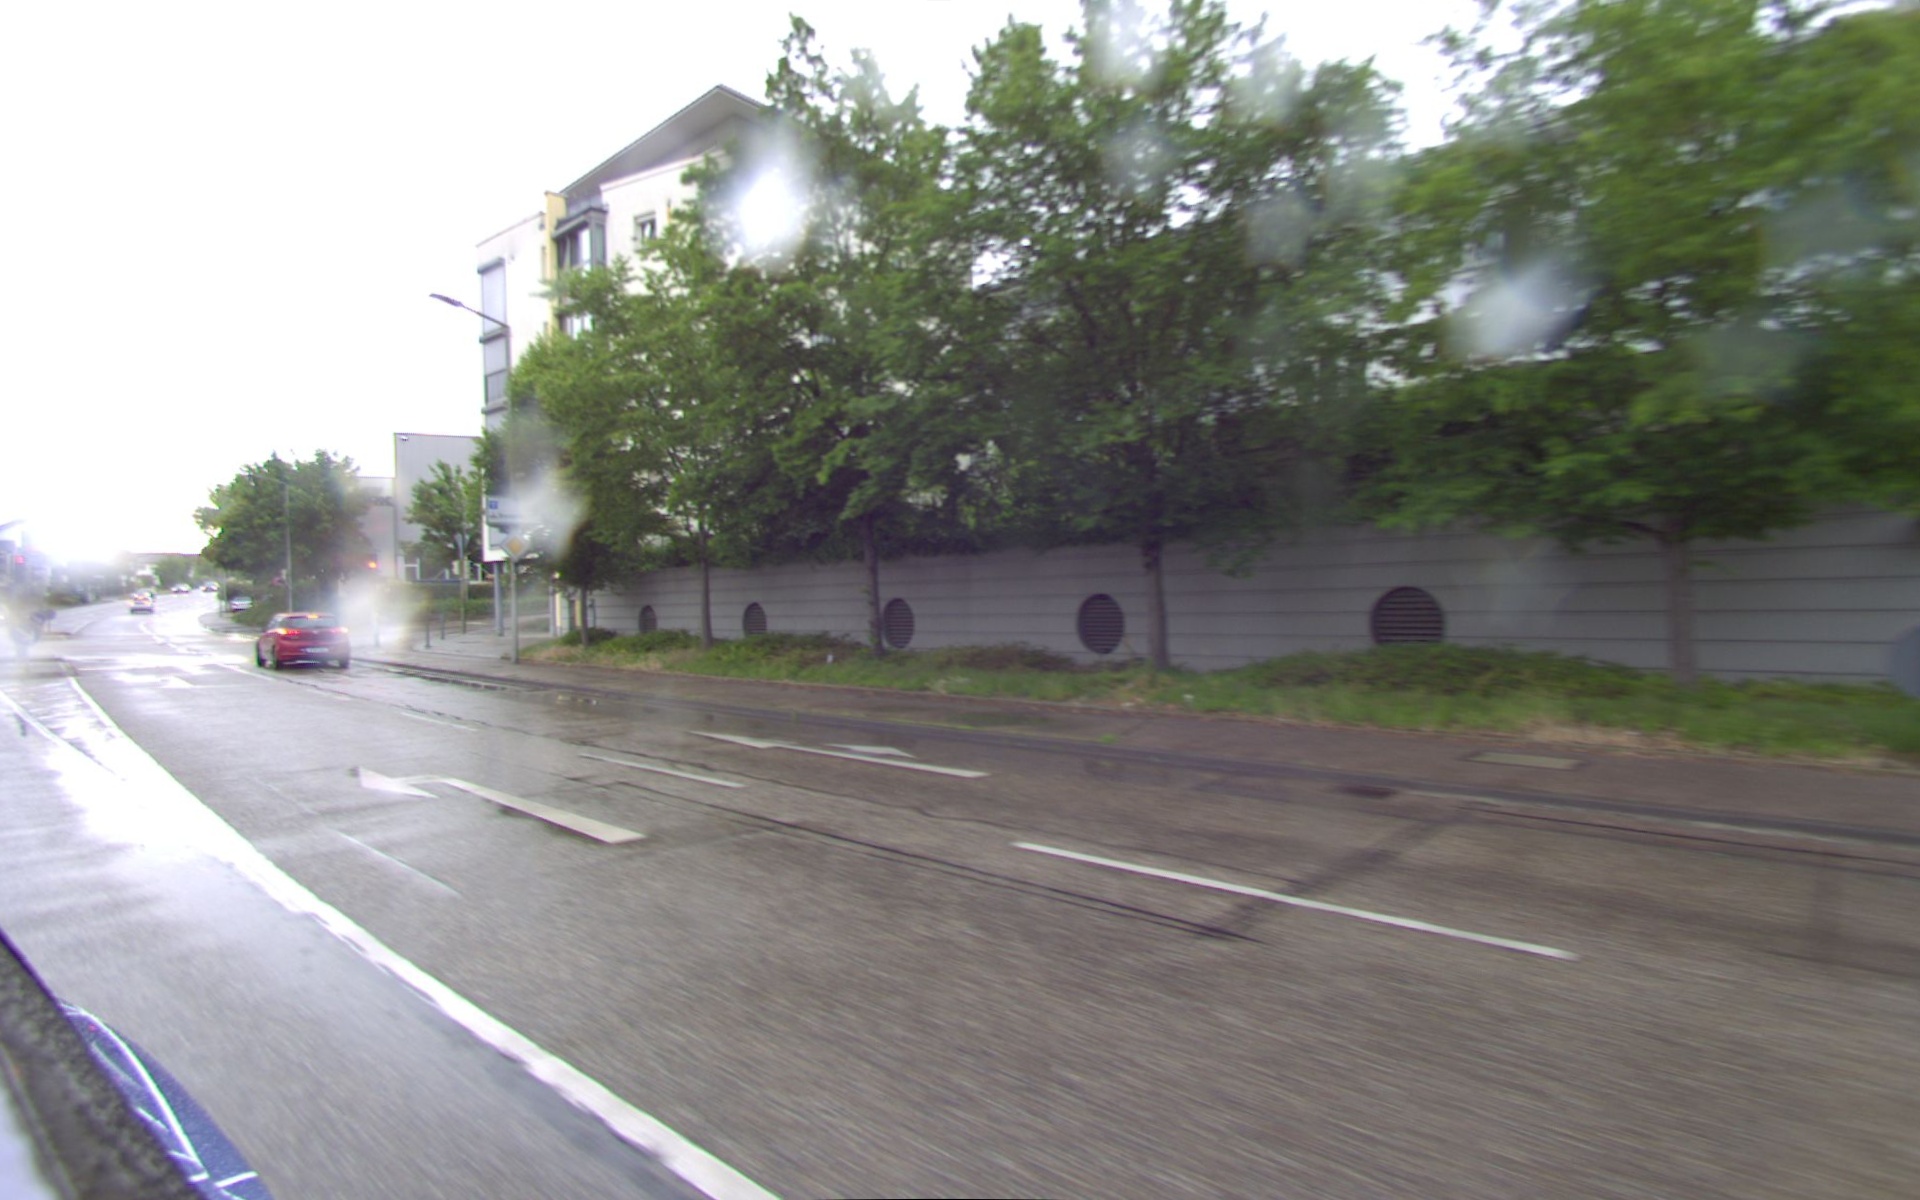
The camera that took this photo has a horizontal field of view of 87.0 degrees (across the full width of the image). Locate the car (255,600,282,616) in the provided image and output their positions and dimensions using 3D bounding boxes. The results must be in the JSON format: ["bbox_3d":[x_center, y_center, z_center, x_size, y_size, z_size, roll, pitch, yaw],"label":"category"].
[{"bbox_3d":[-67.508,0.754,98.840,1.708,1.489,4.033,-3,1,-29],"label":"car"}]

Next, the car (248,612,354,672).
[{"bbox_3d":[-18.063,1.098,27.678,1.754,1.518,4.108,2,-2,-43],"label":"car"}]

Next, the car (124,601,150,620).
[{"bbox_3d":[-79.171,0.989,97.406,1.667,1.566,3.916,-4,3,-36],"label":"car"}]

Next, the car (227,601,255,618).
[{"bbox_3d":[-69.155,0.882,97.376,1.708,1.489,4.033,-3,1,-29],"label":"car"}]

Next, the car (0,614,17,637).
[{"bbox_3d":[-68.029,1.818,71.262,1.869,1.556,4.030,-3,1,-37],"label":"car"}]

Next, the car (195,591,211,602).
[{"bbox_3d":[-121.417,-0.480,162.388,1.800,1.700,4.011,-1,0,-33],"label":"car"}]

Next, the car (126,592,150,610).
[{"bbox_3d":[-108.387,0.115,133.434,1.967,2.028,4.011,-6,4,-34],"label":"car"}]
